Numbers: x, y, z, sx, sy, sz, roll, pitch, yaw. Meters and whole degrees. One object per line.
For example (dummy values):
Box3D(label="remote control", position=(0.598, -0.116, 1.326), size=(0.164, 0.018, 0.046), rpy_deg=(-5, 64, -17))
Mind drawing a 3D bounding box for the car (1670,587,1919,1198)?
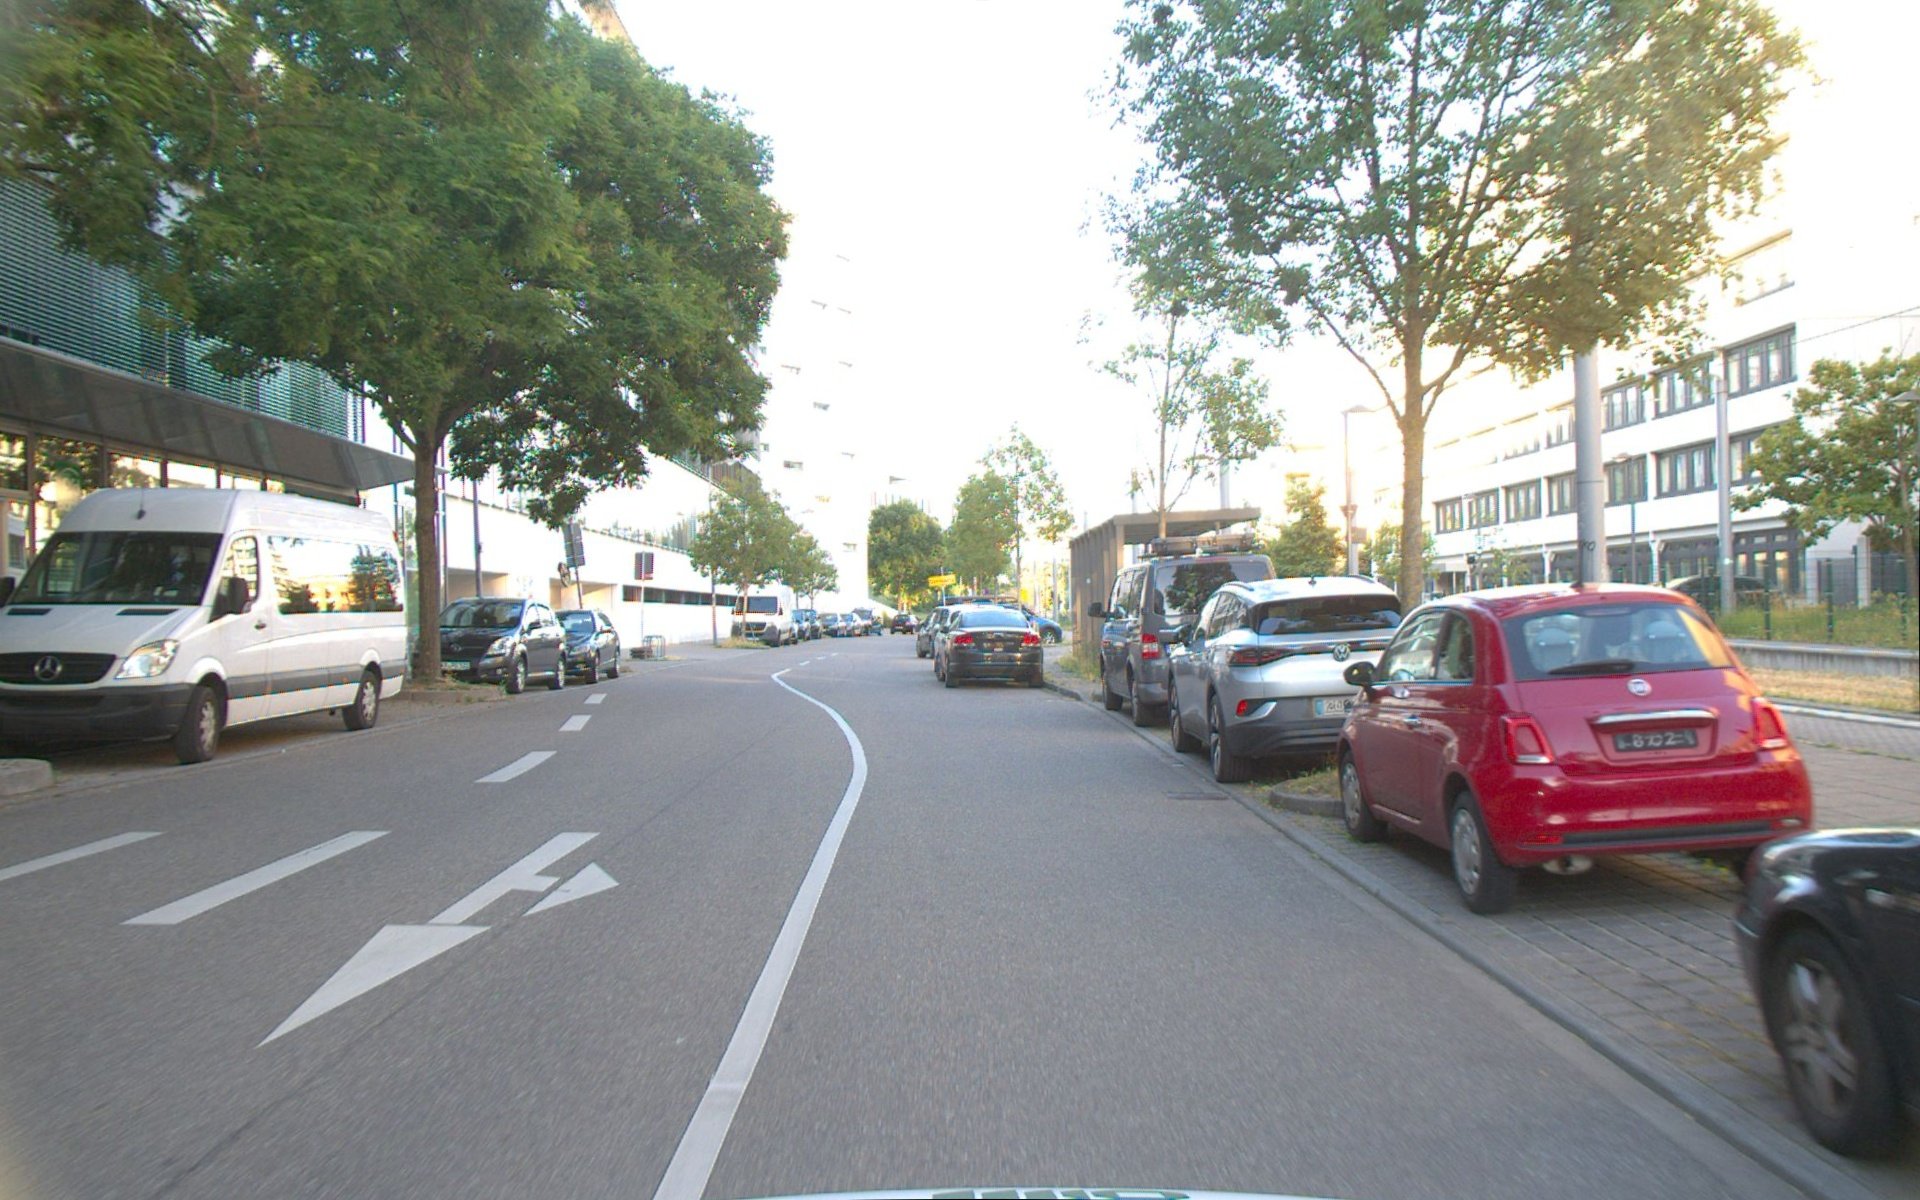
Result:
Box3D(label="car", position=(3.177, 0.680, 3.268), size=(1.673, 1.477, 3.998), rpy_deg=(-3, 0, -2))

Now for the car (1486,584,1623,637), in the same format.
Box3D(label="car", position=(20.049, 0.337, 55.880), size=(3.907, 1.539, 1.823), rpy_deg=(-3, 0, -3))

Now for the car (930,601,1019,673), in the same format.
Box3D(label="car", position=(0.270, 0.799, 36.862), size=(1.643, 1.477, 4.184), rpy_deg=(-1, 0, -4))

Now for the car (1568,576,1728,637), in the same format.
Box3D(label="car", position=(20.045, 0.198, 48.309), size=(3.906, 1.513, 1.675), rpy_deg=(-4, -1, 0))

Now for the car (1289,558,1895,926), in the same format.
Box3D(label="car", position=(3.189, 0.635, 9.327), size=(1.673, 1.519, 4.129), rpy_deg=(-3, 0, -2))

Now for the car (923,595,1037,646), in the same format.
Box3D(label="car", position=(0.853, 0.824, 68.952), size=(4.549, 2.071, 1.849), rpy_deg=(0, 0, -35))

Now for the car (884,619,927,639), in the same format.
Box3D(label="car", position=(-3.946, 2.115, 120.967), size=(1.903, 1.407, 4.402), rpy_deg=(1, 0, 15))

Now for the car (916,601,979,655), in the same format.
Box3D(label="car", position=(-0.403, 0.840, 48.585), size=(1.696, 1.492, 3.997), rpy_deg=(1, -1, -3))

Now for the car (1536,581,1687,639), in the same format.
Box3D(label="car", position=(19.914, 0.302, 50.676), size=(3.906, 1.513, 1.675), rpy_deg=(-4, -1, 0))

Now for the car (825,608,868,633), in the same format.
Box3D(label="car", position=(-7.182, 1.291, 105.332), size=(1.685, 1.483, 4.698), rpy_deg=(1, 0, 9))

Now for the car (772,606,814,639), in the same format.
Box3D(label="car", position=(-8.564, 1.139, 85.150), size=(1.720, 1.588, 4.042), rpy_deg=(1, 0, 0))

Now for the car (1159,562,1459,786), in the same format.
Box3D(label="car", position=(2.909, 0.572, 14.749), size=(1.672, 1.608, 4.479), rpy_deg=(-3, 0, 0))

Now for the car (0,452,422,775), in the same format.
Box3D(label="car", position=(-7.819, 0.126, 17.454), size=(2.057, 2.710, 6.950), rpy_deg=(-1, 0, -1))

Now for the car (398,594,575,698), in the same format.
Box3D(label="car", position=(-7.916, 0.722, 28.065), size=(1.806, 1.599, 4.266), rpy_deg=(-1, 0, -1))

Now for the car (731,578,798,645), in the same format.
Box3D(label="car", position=(-8.201, 0.455, 70.094), size=(1.918, 2.663, 6.892), rpy_deg=(1, 0, 1))

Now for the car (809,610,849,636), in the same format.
Box3D(label="car", position=(-7.868, 1.362, 99.731), size=(1.686, 1.483, 4.274), rpy_deg=(1, 0, 5))

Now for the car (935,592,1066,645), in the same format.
Box3D(label="car", position=(1.352, 0.604, 54.692), size=(3.956, 1.547, 1.903), rpy_deg=(-2, -2, -37))

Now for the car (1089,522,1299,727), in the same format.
Box3D(label="car", position=(2.827, 0.295, 21.004), size=(1.768, 2.214, 4.734), rpy_deg=(-3, 0, -2))

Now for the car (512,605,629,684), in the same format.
Box3D(label="car", position=(-7.837, 0.851, 33.616), size=(1.681, 1.477, 4.394), rpy_deg=(-1, 0, -5))

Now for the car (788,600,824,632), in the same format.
Box3D(label="car", position=(-8.492, 0.880, 91.550), size=(1.720, 1.682, 3.947), rpy_deg=(1, 0, -1))

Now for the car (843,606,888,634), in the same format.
Box3D(label="car", position=(-6.290, 1.301, 110.560), size=(1.720, 1.830, 4.466), rpy_deg=(1, 0, 14))

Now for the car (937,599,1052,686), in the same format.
Box3D(label="car", position=(0.571, 0.742, 30.961), size=(1.752, 1.477, 4.512), rpy_deg=(-1, 0, -4))

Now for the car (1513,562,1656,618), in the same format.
Box3D(label="car", position=(20.008, -0.314, 53.081), size=(3.906, 1.513, 1.675), rpy_deg=(-4, -1, 0))

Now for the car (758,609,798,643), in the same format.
Box3D(label="car", position=(-8.361, 1.176, 76.286), size=(1.722, 1.465, 3.897), rpy_deg=(1, 0, -5))

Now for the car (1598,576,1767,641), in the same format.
Box3D(label="car", position=(20.009, 0.235, 45.903), size=(3.906, 1.513, 1.675), rpy_deg=(-4, -1, 0))
